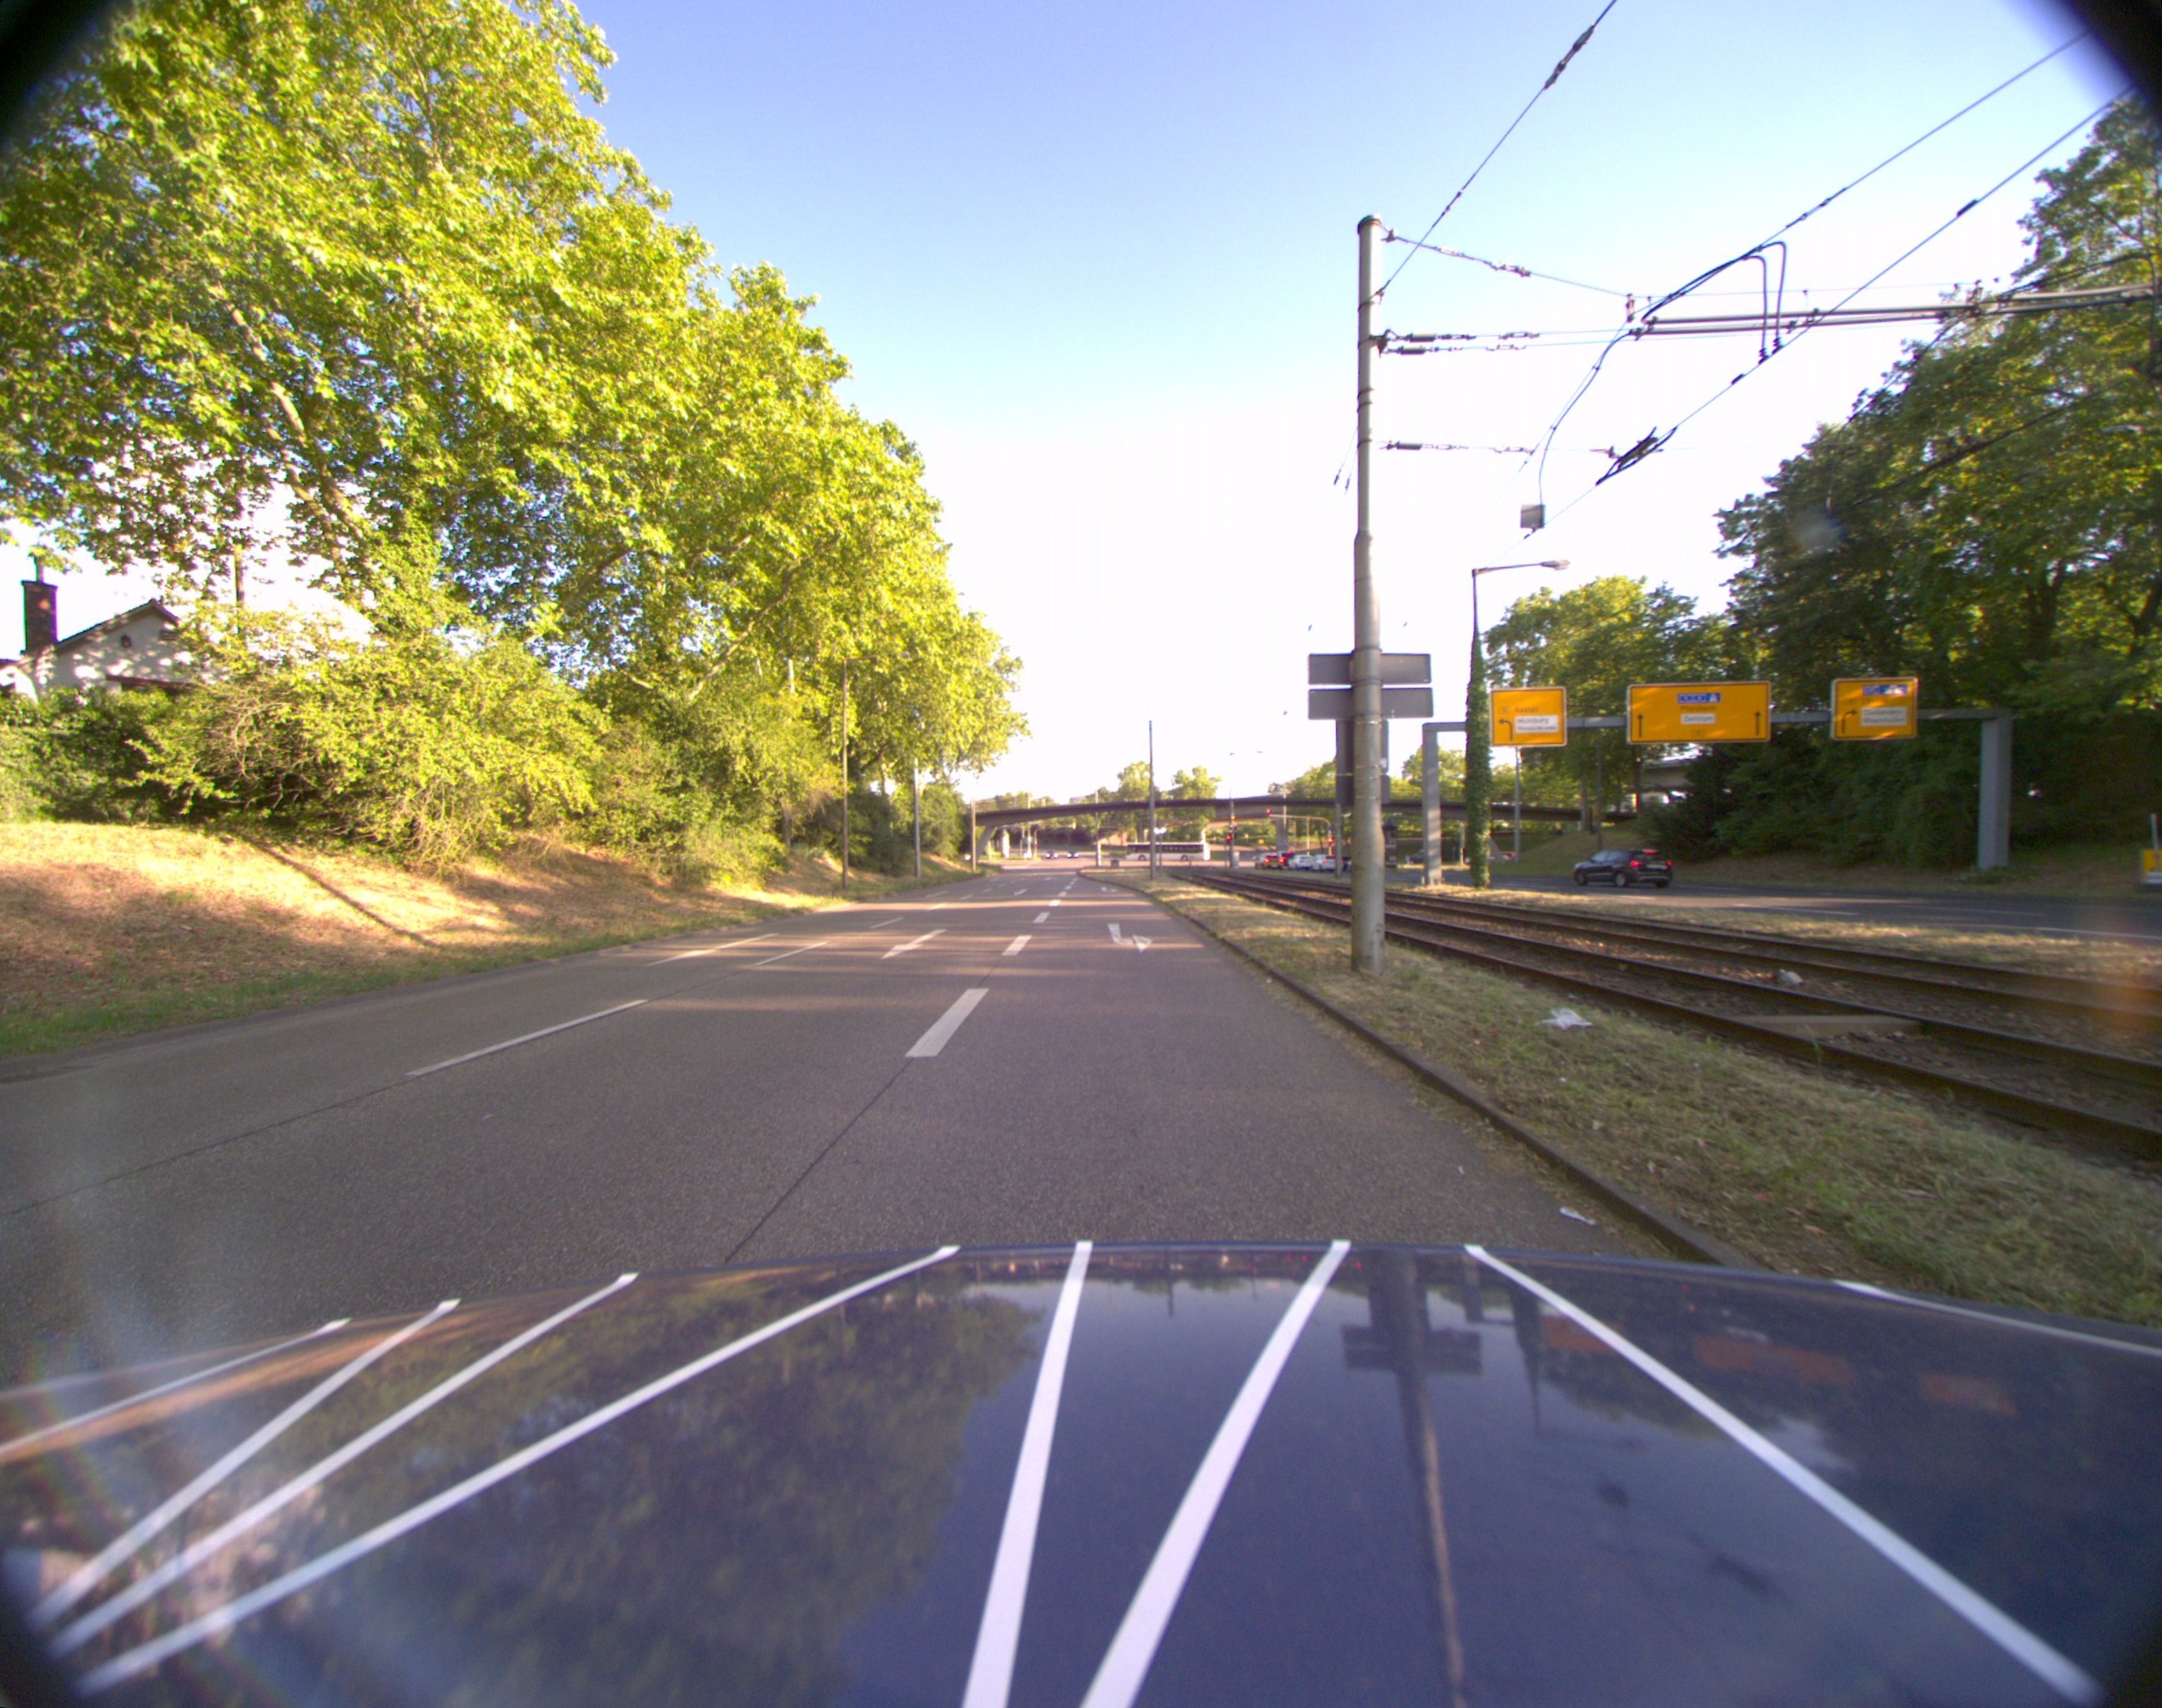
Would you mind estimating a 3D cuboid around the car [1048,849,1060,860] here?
[{"bbox_3d":[-4.897,0.067,139.191,1.960,1.779,3.998,-2,0,-5],"label":"car"}]

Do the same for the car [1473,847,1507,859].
[{"bbox_3d":[56.215,-0.119,104.534,3.868,1.403,1.814,-2,1,20],"label":"car"}]

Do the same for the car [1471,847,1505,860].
[{"bbox_3d":[54.101,-0.030,101.119,3.804,1.570,1.679,-2,1,24],"label":"car"}]

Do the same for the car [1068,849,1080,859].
[{"bbox_3d":[-1.253,0.013,141.867,1.905,1.726,3.998,-2,0,-5],"label":"car"}]

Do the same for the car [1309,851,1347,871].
[{"bbox_3d":[20.027,0.541,61.793,1.767,1.535,4.000,-1,0,0],"label":"car"}]

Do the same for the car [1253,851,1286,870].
[{"bbox_3d":[16.147,0.504,65.223,1.767,1.535,4.000,-1,0,0],"label":"car"}]

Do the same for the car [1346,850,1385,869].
[{"bbox_3d":[23.968,0.466,64.060,1.813,1.535,4.000,-1,0,1],"label":"car"}]

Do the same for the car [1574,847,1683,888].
[{"bbox_3d":[22.200,0.511,30.994,1.755,1.548,3.974,0,0,3],"label":"car"}]

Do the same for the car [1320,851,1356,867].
[{"bbox_3d":[23.738,0.469,70.196,1.868,1.416,4.226,-1,0,0],"label":"car"}]

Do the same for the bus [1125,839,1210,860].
[{"bbox_3d":[13.788,-0.747,121.180,13.164,2.846,2.420,-2,1,20],"label":"bus"}]

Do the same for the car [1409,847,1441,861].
[{"bbox_3d":[47.093,0.008,104.128,3.805,1.848,1.679,-2,1,20],"label":"car"}]

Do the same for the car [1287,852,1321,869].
[{"bbox_3d":[19.916,0.528,68.071,1.918,1.416,4.227,-1,0,2],"label":"car"}]

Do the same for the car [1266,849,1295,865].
[{"bbox_3d":[19.582,0.262,74.729,1.917,1.540,4.227,-1,0,4],"label":"car"}]

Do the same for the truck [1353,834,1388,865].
[{"bbox_3d":[28.383,-0.439,74.786,2.281,2.862,6.886,-1,0,13],"label":"truck"}]
